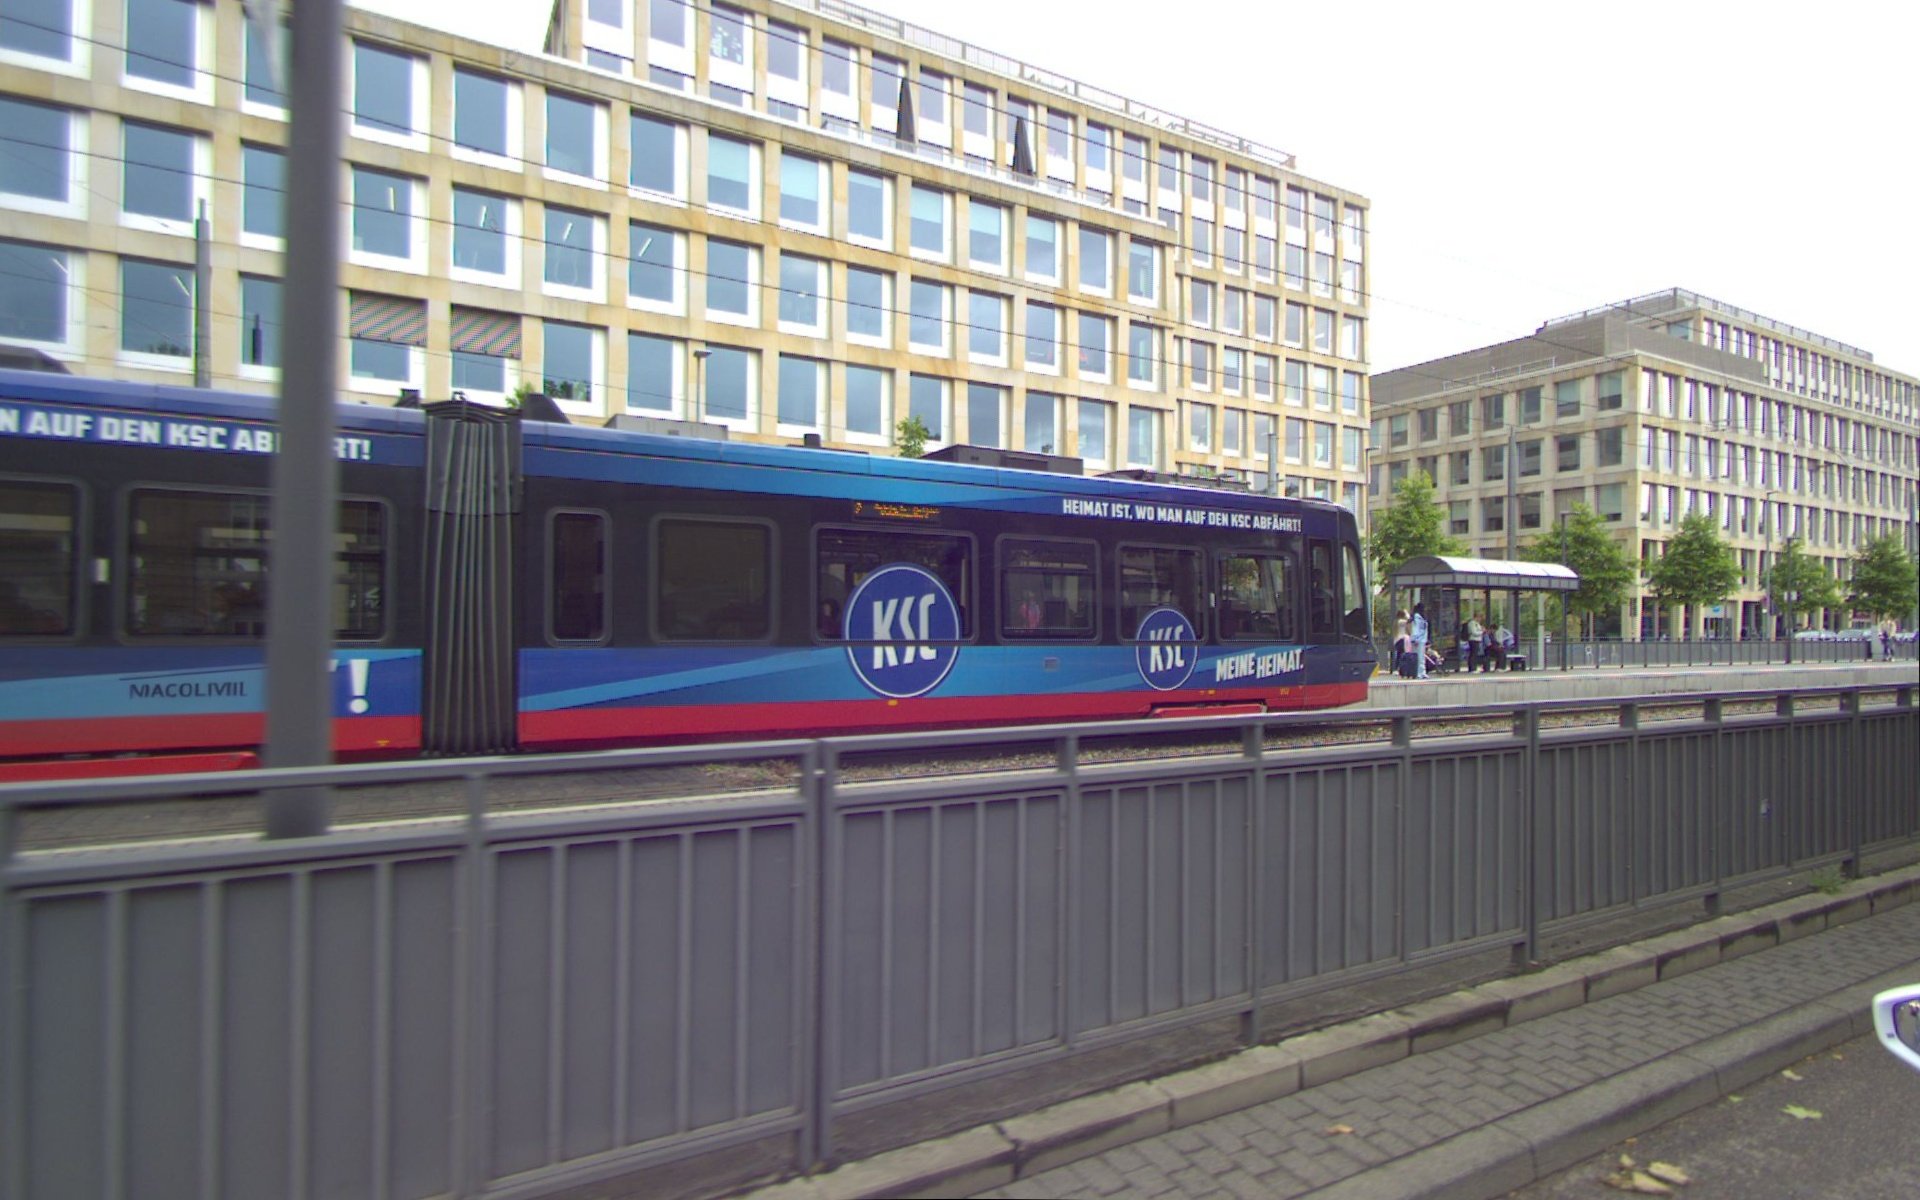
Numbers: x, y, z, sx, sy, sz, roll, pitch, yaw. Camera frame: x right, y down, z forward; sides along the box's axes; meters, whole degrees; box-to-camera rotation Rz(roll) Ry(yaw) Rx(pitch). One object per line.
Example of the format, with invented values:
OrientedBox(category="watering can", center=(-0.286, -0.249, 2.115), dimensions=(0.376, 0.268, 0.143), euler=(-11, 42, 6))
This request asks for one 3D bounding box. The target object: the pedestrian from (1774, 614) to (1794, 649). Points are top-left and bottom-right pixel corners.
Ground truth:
OrientedBox(category="pedestrian", center=(49.319, 1.896, 60.111), dimensions=(0.716, 2.040, 0.710), euler=(1, -2, -29))

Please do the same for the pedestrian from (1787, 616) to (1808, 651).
OrientedBox(category="pedestrian", center=(49.108, 1.963, 58.902), dimensions=(0.716, 2.040, 0.709), euler=(2, -2, -30))

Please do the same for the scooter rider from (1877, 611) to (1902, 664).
OrientedBox(category="scooter rider", center=(36.141, 1.466, 39.063), dimensions=(0.673, 2.036, 0.514), euler=(2, -2, -30))

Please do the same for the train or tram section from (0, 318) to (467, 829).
OrientedBox(category="train or tram section", center=(-10.023, -0.238, 7.070), dimensions=(11.564, 3.688, 2.841), euler=(2, -2, -31))

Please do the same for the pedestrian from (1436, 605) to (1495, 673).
OrientedBox(category="pedestrian", center=(13.126, 1.007, 26.084), dimensions=(0.927, 1.708, 1.035), euler=(1, -2, -26))

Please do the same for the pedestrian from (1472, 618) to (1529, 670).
OrientedBox(category="pedestrian", center=(14.642, 1.182, 27.237), dimensions=(0.927, 1.390, 1.035), euler=(1, -2, -26))

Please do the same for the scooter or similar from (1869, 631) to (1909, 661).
OrientedBox(category="scooter or similar", center=(36.085, 1.792, 39.023), dimensions=(2.200, 1.129, 0.520), euler=(2, -2, -30))

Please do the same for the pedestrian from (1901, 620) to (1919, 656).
OrientedBox(category="pedestrian", center=(54.670, 2.201, 57.488), dimensions=(1.020, 2.040, 0.928), euler=(2, -2, -30))

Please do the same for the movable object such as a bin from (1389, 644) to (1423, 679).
OrientedBox(category="movable object such as a bin", center=(9.928, 1.370, 22.363), dimensions=(0.462, 0.757, 0.534), euler=(1, -2, -22))

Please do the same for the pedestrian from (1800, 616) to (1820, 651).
OrientedBox(category="pedestrian", center=(50.589, 2.011, 59.809), dimensions=(0.716, 2.040, 0.709), euler=(2, -2, -30))

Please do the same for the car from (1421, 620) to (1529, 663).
OrientedBox(category="car", center=(20.851, 1.673, 40.646), dimensions=(3.949, 1.684, 1.986), euler=(2, -2, -28))

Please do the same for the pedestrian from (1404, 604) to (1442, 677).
OrientedBox(category="pedestrian", center=(10.406, 0.913, 22.583), dimensions=(0.557, 1.628, 0.534), euler=(1, -2, -22))

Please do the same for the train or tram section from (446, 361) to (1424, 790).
OrientedBox(category="train or tram section", center=(0.747, -0.009, 13.396), dimensions=(13.364, 3.740, 2.841), euler=(2, -2, -31))

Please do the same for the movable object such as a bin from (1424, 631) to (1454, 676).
OrientedBox(category="movable object such as a bin", center=(11.330, 1.260, 23.736), dimensions=(0.610, 1.034, 0.722), euler=(0, -2, 28))

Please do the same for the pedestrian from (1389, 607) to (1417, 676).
OrientedBox(category="pedestrian", center=(10.648, 0.994, 24.153), dimensions=(0.569, 1.628, 0.656), euler=(0, -2, 28))
